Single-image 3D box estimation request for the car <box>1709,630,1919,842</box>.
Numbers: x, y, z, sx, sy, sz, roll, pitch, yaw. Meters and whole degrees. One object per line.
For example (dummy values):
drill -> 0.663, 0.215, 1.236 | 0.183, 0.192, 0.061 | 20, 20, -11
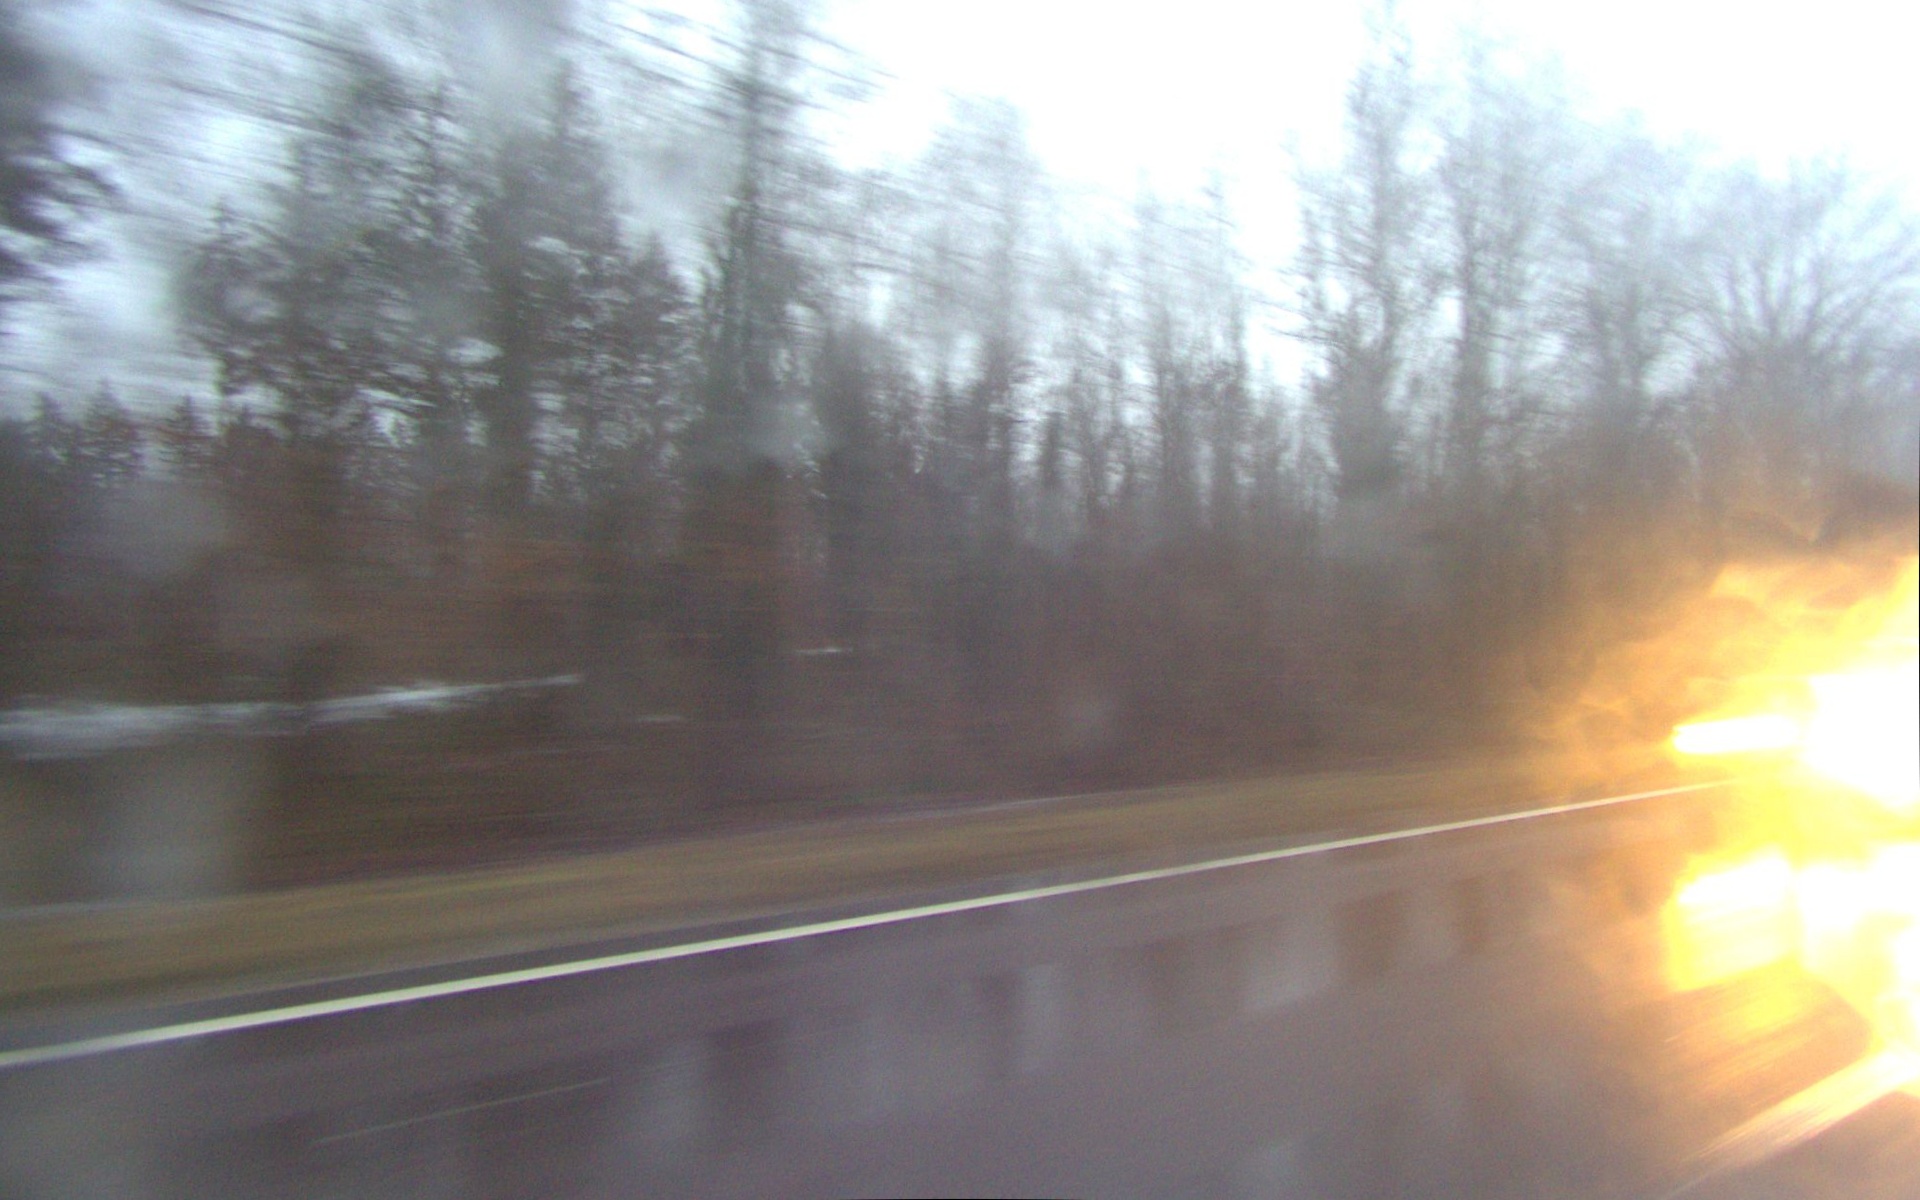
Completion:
car -> 7.983, 0.963, 8.228 | 4.026, 1.408, 1.610 | 1, -1, -32
